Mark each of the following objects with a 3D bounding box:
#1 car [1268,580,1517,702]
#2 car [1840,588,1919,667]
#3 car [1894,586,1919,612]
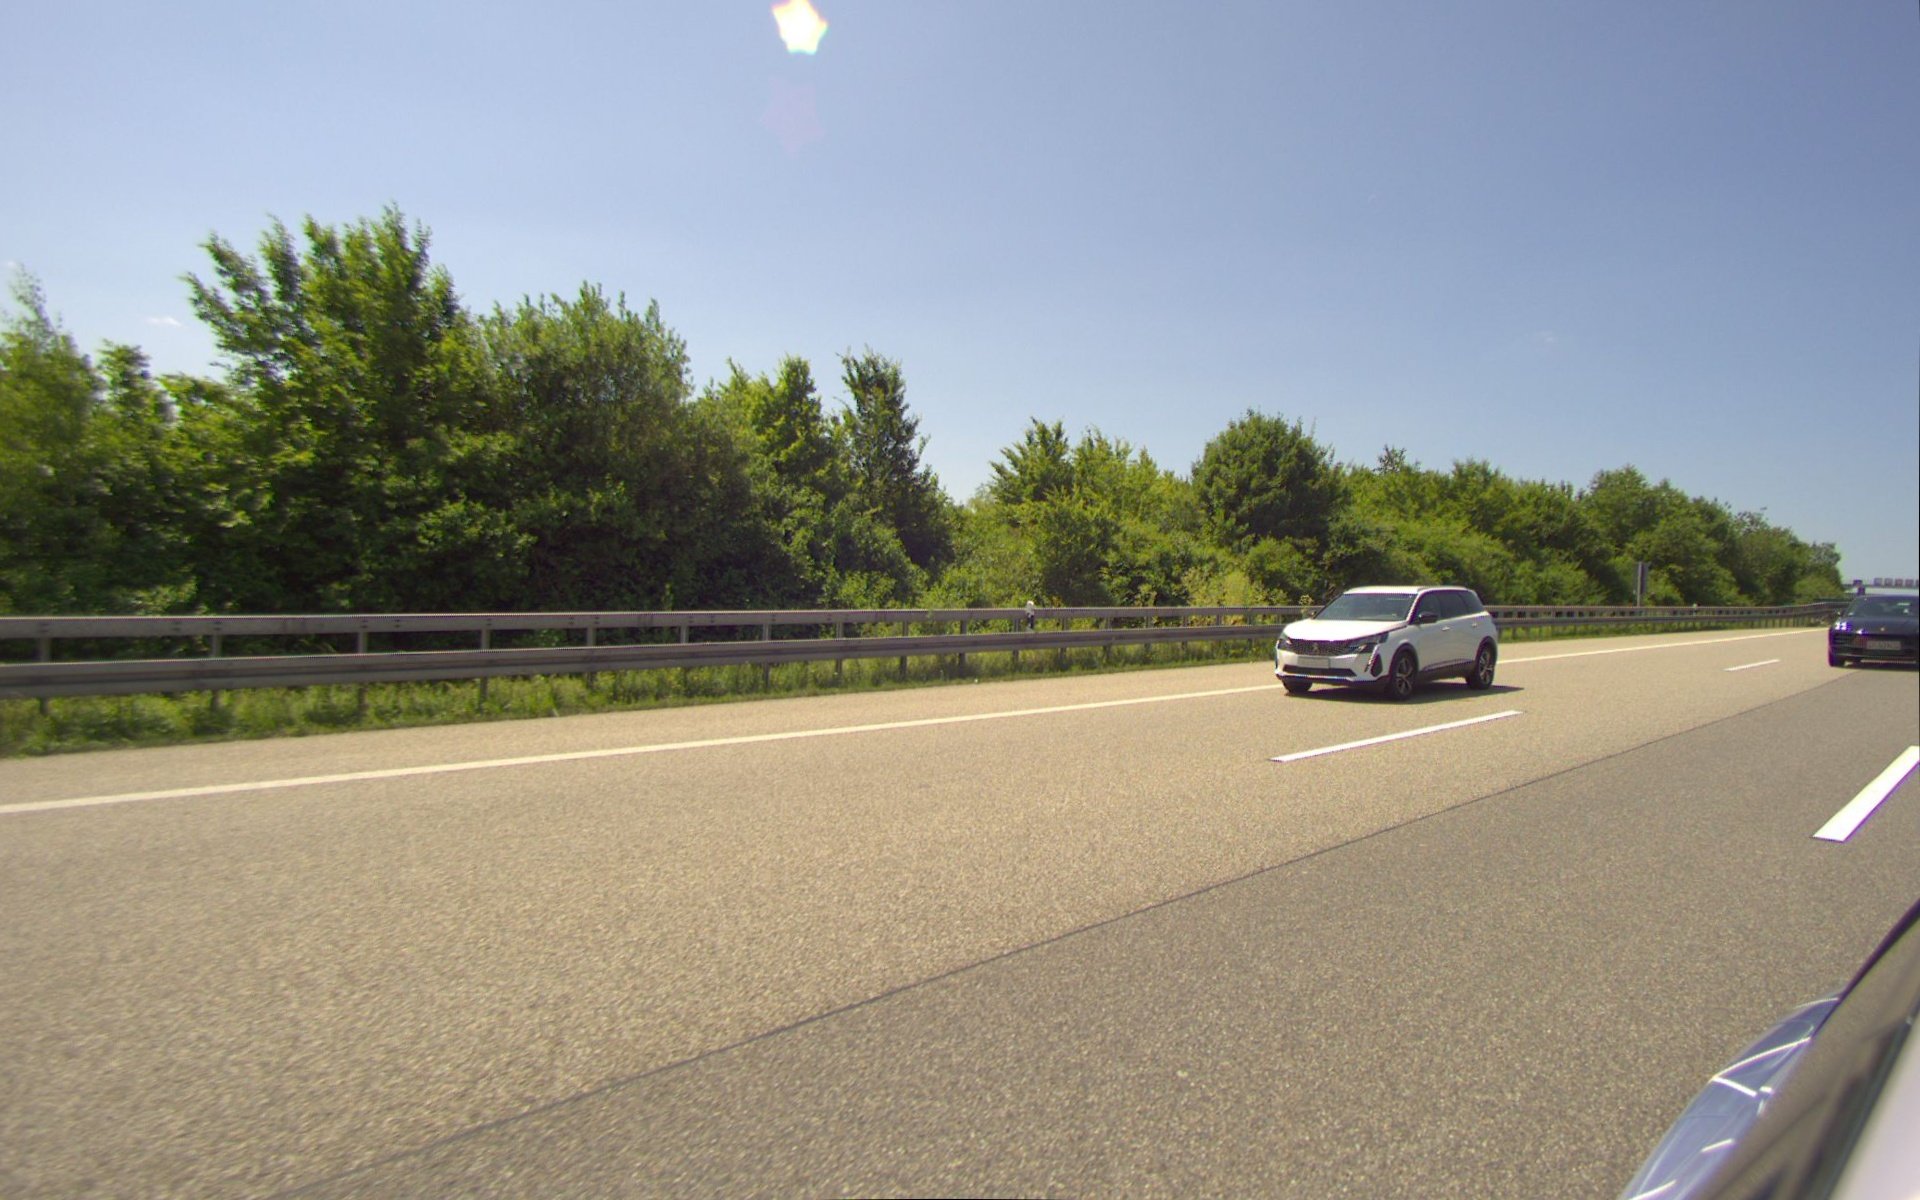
[{"bbox_3d":[6.747,0.515,15.545,4.539,1.611,1.746,-1,1,-41],"label":"car"},{"bbox_3d":[21.179,0.551,22.485,4.060,1.615,1.930,-1,1,-41],"label":"car"},{"bbox_3d":[72.146,-0.103,76.700,4.224,1.943,1.805,-1,0,-44],"label":"car"}]
